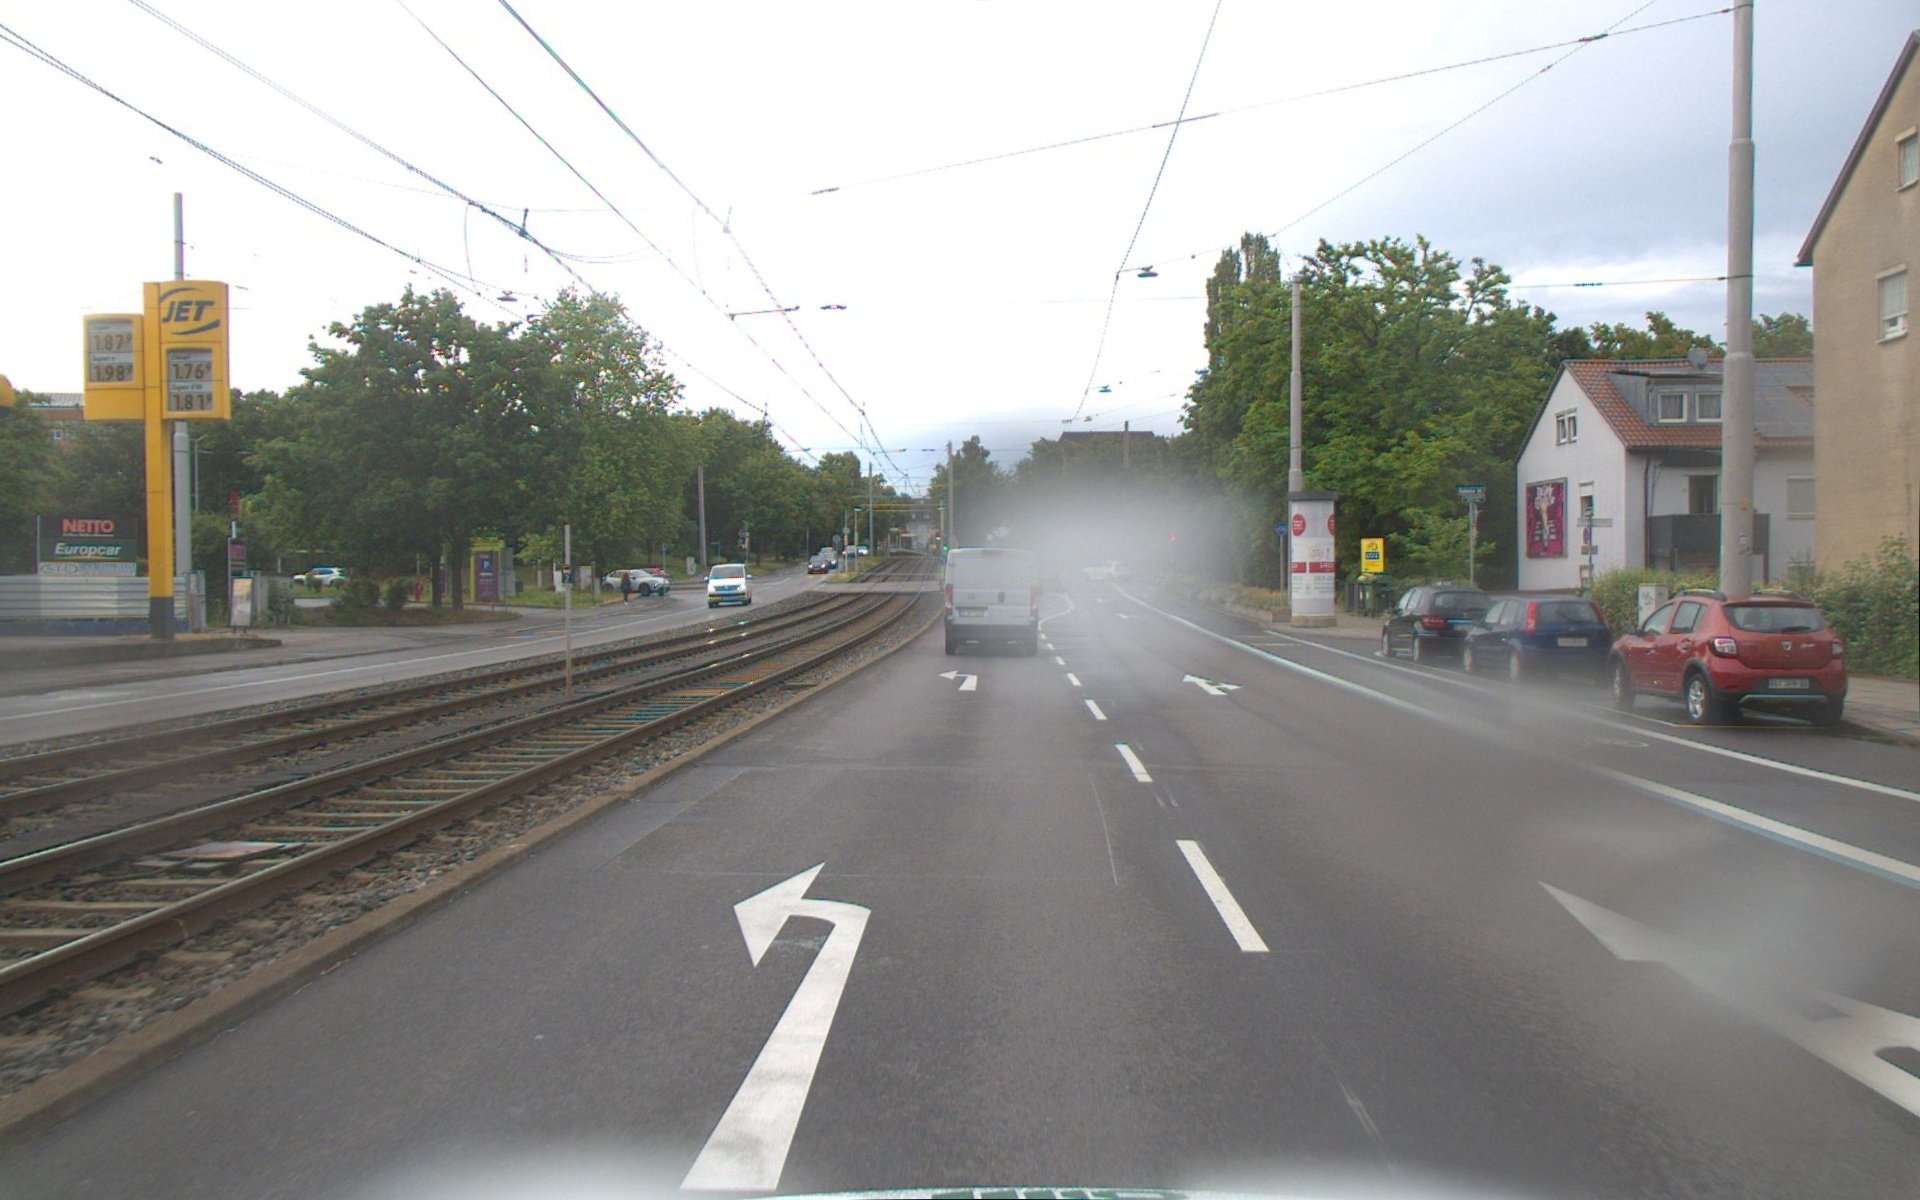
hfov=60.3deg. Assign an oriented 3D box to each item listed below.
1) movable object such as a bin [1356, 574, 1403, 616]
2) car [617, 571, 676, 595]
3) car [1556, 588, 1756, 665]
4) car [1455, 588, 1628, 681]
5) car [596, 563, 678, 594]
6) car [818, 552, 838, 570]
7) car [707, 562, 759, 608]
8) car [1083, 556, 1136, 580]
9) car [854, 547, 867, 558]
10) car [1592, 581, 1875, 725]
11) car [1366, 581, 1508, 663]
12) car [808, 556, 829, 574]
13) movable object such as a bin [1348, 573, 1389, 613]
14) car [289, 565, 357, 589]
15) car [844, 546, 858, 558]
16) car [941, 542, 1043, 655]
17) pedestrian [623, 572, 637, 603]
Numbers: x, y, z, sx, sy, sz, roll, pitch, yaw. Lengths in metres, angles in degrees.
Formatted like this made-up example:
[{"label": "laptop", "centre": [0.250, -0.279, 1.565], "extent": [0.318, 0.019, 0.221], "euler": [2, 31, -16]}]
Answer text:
[{"label": "movable object such as a bin", "centre": [14.759, -0.178, 58.236], "extent": [1.284, 1.443, 1.300], "euler": [1, 0, -1]}, {"label": "car", "centre": [-21.702, -1.198, 114.531], "extent": [3.892, 1.560, 1.839], "euler": [1, 0, -9]}, {"label": "car", "centre": [17.375, 0.658, 41.452], "extent": [4.184, 1.684, 1.880], "euler": [2, 0, 5]}, {"label": "car", "centre": [10.057, 0.550, 28.882], "extent": [1.633, 1.469, 3.929], "euler": [1, 0, 0]}, {"label": "car", "centre": [-20.175, -1.347, 103.256], "extent": [4.646, 1.678, 2.000], "euler": [-2, 1, 22]}, {"label": "car", "centre": [-12.258, -3.613, 153.697], "extent": [1.568, 1.426, 3.790], "euler": [-2, -2, -1]}, {"label": "car", "centre": [-10.902, -0.750, 79.657], "extent": [1.954, 2.048, 5.058], "euler": [-3, 1, -3]}, {"label": "car", "centre": [10.496, -2.252, 116.364], "extent": [1.690, 1.548, 3.744], "euler": [-1, 3, -36]}, {"label": "car", "centre": [-13.641, -6.553, 226.681], "extent": [1.568, 1.426, 3.792], "euler": [1, 3, -1]}, {"label": "car", "centre": [9.823, 0.602, 21.381], "extent": [1.799, 1.656, 4.100], "euler": [1, 0, 1]}, {"label": "car", "centre": [10.033, 0.410, 35.119], "extent": [1.799, 1.560, 4.440], "euler": [1, 1, 1]}, {"label": "car", "centre": [-12.066, -3.009, 141.130], "extent": [1.568, 1.426, 3.792], "euler": [1, 3, -1]}, {"label": "movable object such as a bin", "centre": [14.756, -0.250, 59.738], "extent": [1.160, 1.443, 1.134], "euler": [1, 0, -1]}, {"label": "car", "centre": [-44.293, -1.583, 115.121], "extent": [4.114, 1.560, 1.838], "euler": [1, 0, -11]}, {"label": "car", "centre": [-13.610, -5.988, 205.962], "extent": [1.568, 1.426, 3.792], "euler": [1, 3, -1]}, {"label": "car", "centre": [0.670, -0.084, 36.802], "extent": [2.102, 2.323, 5.063], "euler": [0, 1, 0]}, {"label": "pedestrian", "centre": [-16.464, -0.618, 82.535], "extent": [0.579, 1.558, 0.668], "euler": [1, -1, 0]}]
